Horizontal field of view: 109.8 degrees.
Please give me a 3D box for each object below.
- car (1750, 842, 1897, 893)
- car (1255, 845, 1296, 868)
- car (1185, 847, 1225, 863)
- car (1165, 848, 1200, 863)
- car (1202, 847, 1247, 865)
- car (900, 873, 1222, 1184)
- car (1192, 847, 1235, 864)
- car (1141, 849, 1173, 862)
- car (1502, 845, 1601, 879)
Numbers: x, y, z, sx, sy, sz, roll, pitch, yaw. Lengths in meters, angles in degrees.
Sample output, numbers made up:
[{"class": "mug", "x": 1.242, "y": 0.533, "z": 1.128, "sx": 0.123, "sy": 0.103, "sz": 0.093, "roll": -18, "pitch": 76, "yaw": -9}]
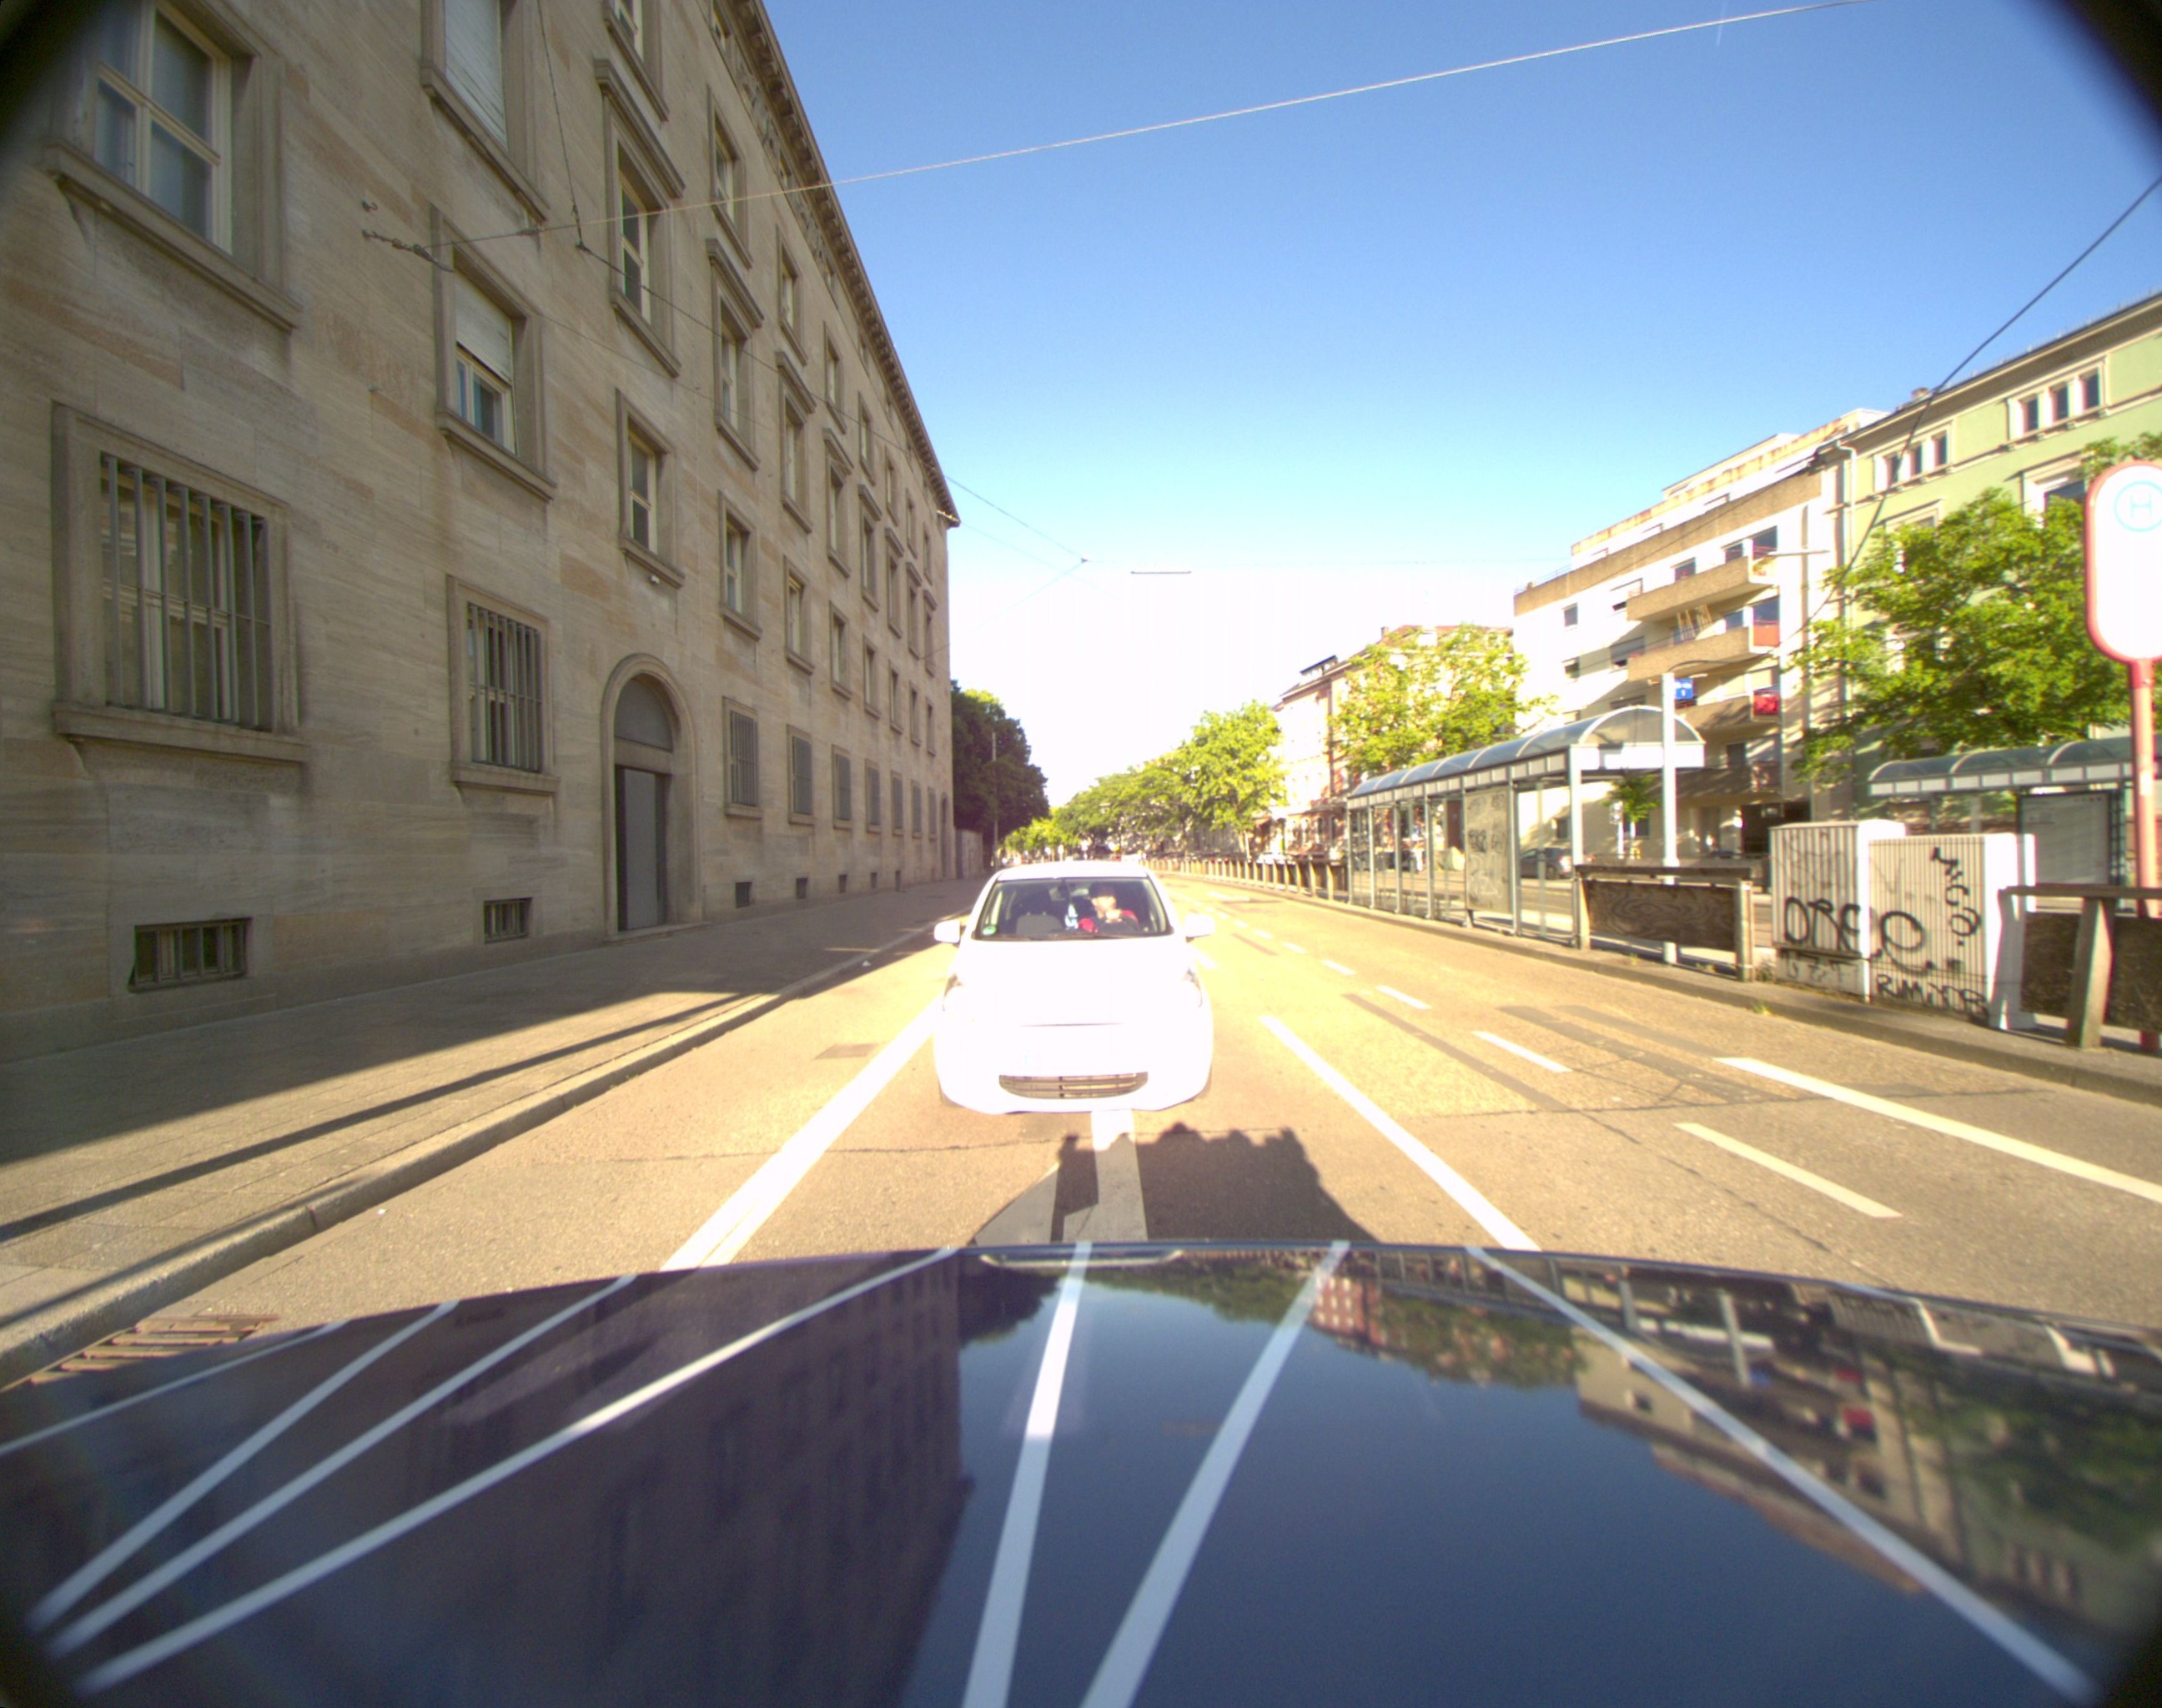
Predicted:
[{"class": "car", "x": 23.936, "y": 0.391, "z": 24.523, "sx": 3.796, "sy": 1.526, "sz": 1.772, "roll": -1, "pitch": 0, "yaw": -17}, {"class": "car", "x": 16.305, "y": 0.193, "z": 63.650, "sx": 1.994, "sy": 1.713, "sz": 4.007, "roll": 0, "pitch": 2, "yaw": 34}, {"class": "car", "x": 13.158, "y": 0.118, "z": 80.502, "sx": 3.996, "sy": 1.674, "sz": 2.000, "roll": -1, "pitch": 0, "yaw": 4}, {"class": "car", "x": 11.436, "y": 0.179, "z": 86.062, "sx": 3.864, "sy": 1.583, "sz": 2.001, "roll": -1, "pitch": 0, "yaw": 5}, {"class": "car", "x": 13.637, "y": 0.160, "z": 72.565, "sx": 3.996, "sy": 1.674, "sz": 2.000, "roll": -1, "pitch": 0, "yaw": 4}, {"class": "car", "x": -0.077, "y": 0.935, "z": 5.687, "sx": 1.612, "sy": 1.450, "sz": 3.667, "roll": -1, "pitch": 0, "yaw": 1}, {"class": "car", "x": 13.351, "y": 0.146, "z": 76.699, "sx": 3.996, "sy": 1.674, "sz": 2.000, "roll": -1, "pitch": 0, "yaw": 4}, {"class": "car", "x": 9.564, "y": 0.167, "z": 95.688, "sx": 3.864, "sy": 1.583, "sz": 2.001, "roll": -1, "pitch": 0, "yaw": 4}, {"class": "car", "x": 20.847, "y": 0.339, "z": 33.807, "sx": 1.615, "sy": 1.387, "sz": 3.516, "roll": -1, "pitch": 0, "yaw": -19}]
